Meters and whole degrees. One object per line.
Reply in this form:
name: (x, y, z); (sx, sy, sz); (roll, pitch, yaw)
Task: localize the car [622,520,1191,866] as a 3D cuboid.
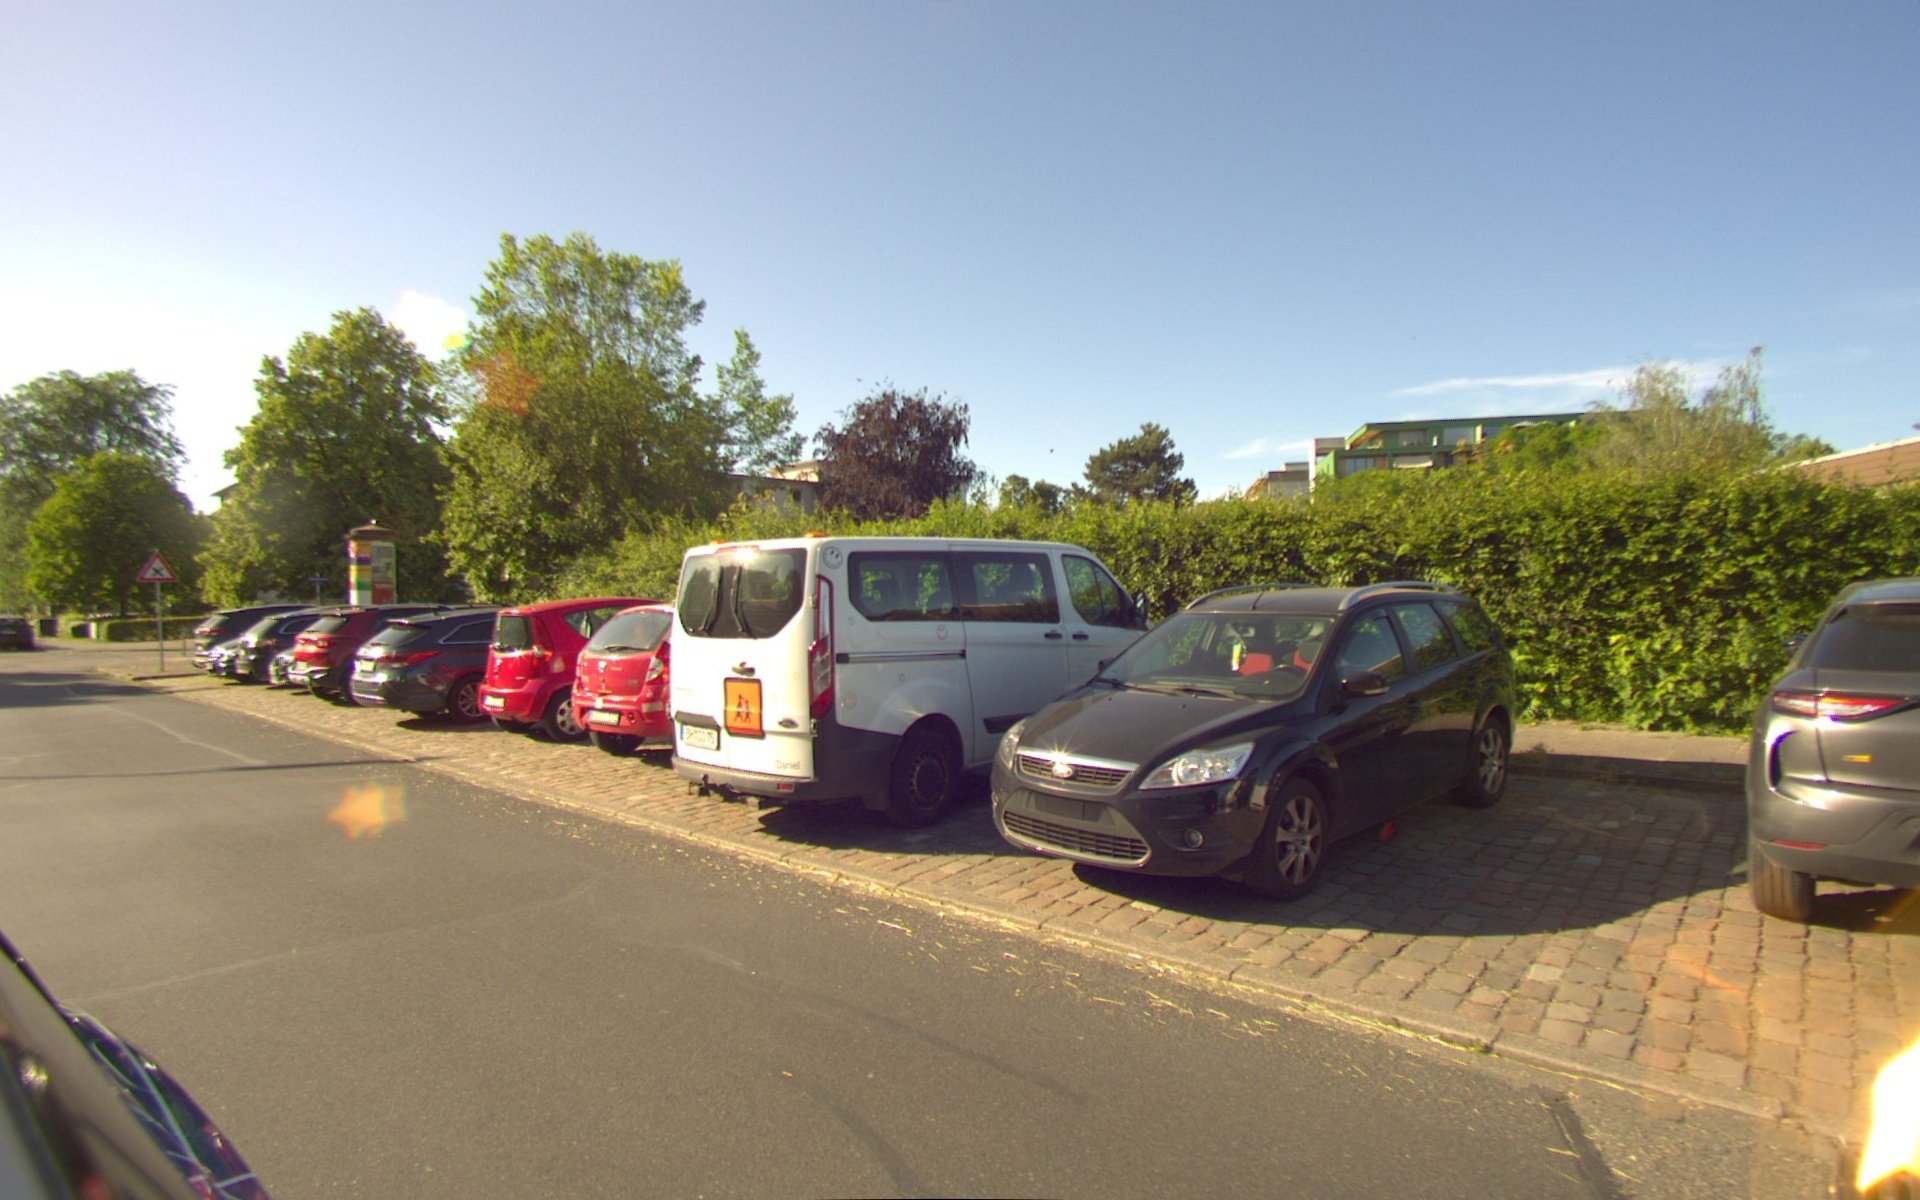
car: (-0.144, 0.435, 8.140); (1.999, 1.991, 4.432); (0, 2, 42)

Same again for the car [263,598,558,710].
car: (-9.146, 0.818, 17.122); (1.788, 1.490, 3.951); (-2, 1, 37)

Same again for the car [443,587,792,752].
car: (-4.118, 0.734, 12.511); (1.881, 1.579, 3.563); (-2, 1, 43)

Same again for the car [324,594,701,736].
car: (-6.108, 0.781, 14.259); (1.747, 1.490, 4.495); (-2, 1, 43)

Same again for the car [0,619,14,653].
car: (-49.235, 1.812, 51.187); (3.649, 1.695, 1.793); (-1, -3, 44)

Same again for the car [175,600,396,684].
car: (-16.452, 0.949, 24.852); (1.846, 1.668, 4.144); (0, 2, 41)

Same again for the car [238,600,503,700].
car: (-11.246, 0.862, 19.492); (1.905, 1.523, 3.977); (0, 2, 41)

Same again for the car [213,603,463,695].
car: (-12.859, 0.925, 21.121); (1.812, 1.523, 4.050); (0, 2, 41)

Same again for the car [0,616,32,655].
car: (-42.062, 1.558, 44.334); (4.424, 1.586, 1.760); (-2, 0, 43)

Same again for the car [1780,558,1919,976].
car: (5.221, 0.571, 4.781); (1.884, 1.498, 3.728); (0, 3, 42)

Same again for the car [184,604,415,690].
car: (-14.645, 0.955, 22.602); (1.831, 1.544, 3.946); (0, 2, 41)

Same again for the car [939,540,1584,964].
car: (2.065, 0.548, 6.235); (4.101, 1.718, 1.887); (-4, 2, -41)

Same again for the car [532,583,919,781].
car: (-2.305, 0.704, 10.654); (1.849, 1.579, 3.569); (-2, 1, 38)
